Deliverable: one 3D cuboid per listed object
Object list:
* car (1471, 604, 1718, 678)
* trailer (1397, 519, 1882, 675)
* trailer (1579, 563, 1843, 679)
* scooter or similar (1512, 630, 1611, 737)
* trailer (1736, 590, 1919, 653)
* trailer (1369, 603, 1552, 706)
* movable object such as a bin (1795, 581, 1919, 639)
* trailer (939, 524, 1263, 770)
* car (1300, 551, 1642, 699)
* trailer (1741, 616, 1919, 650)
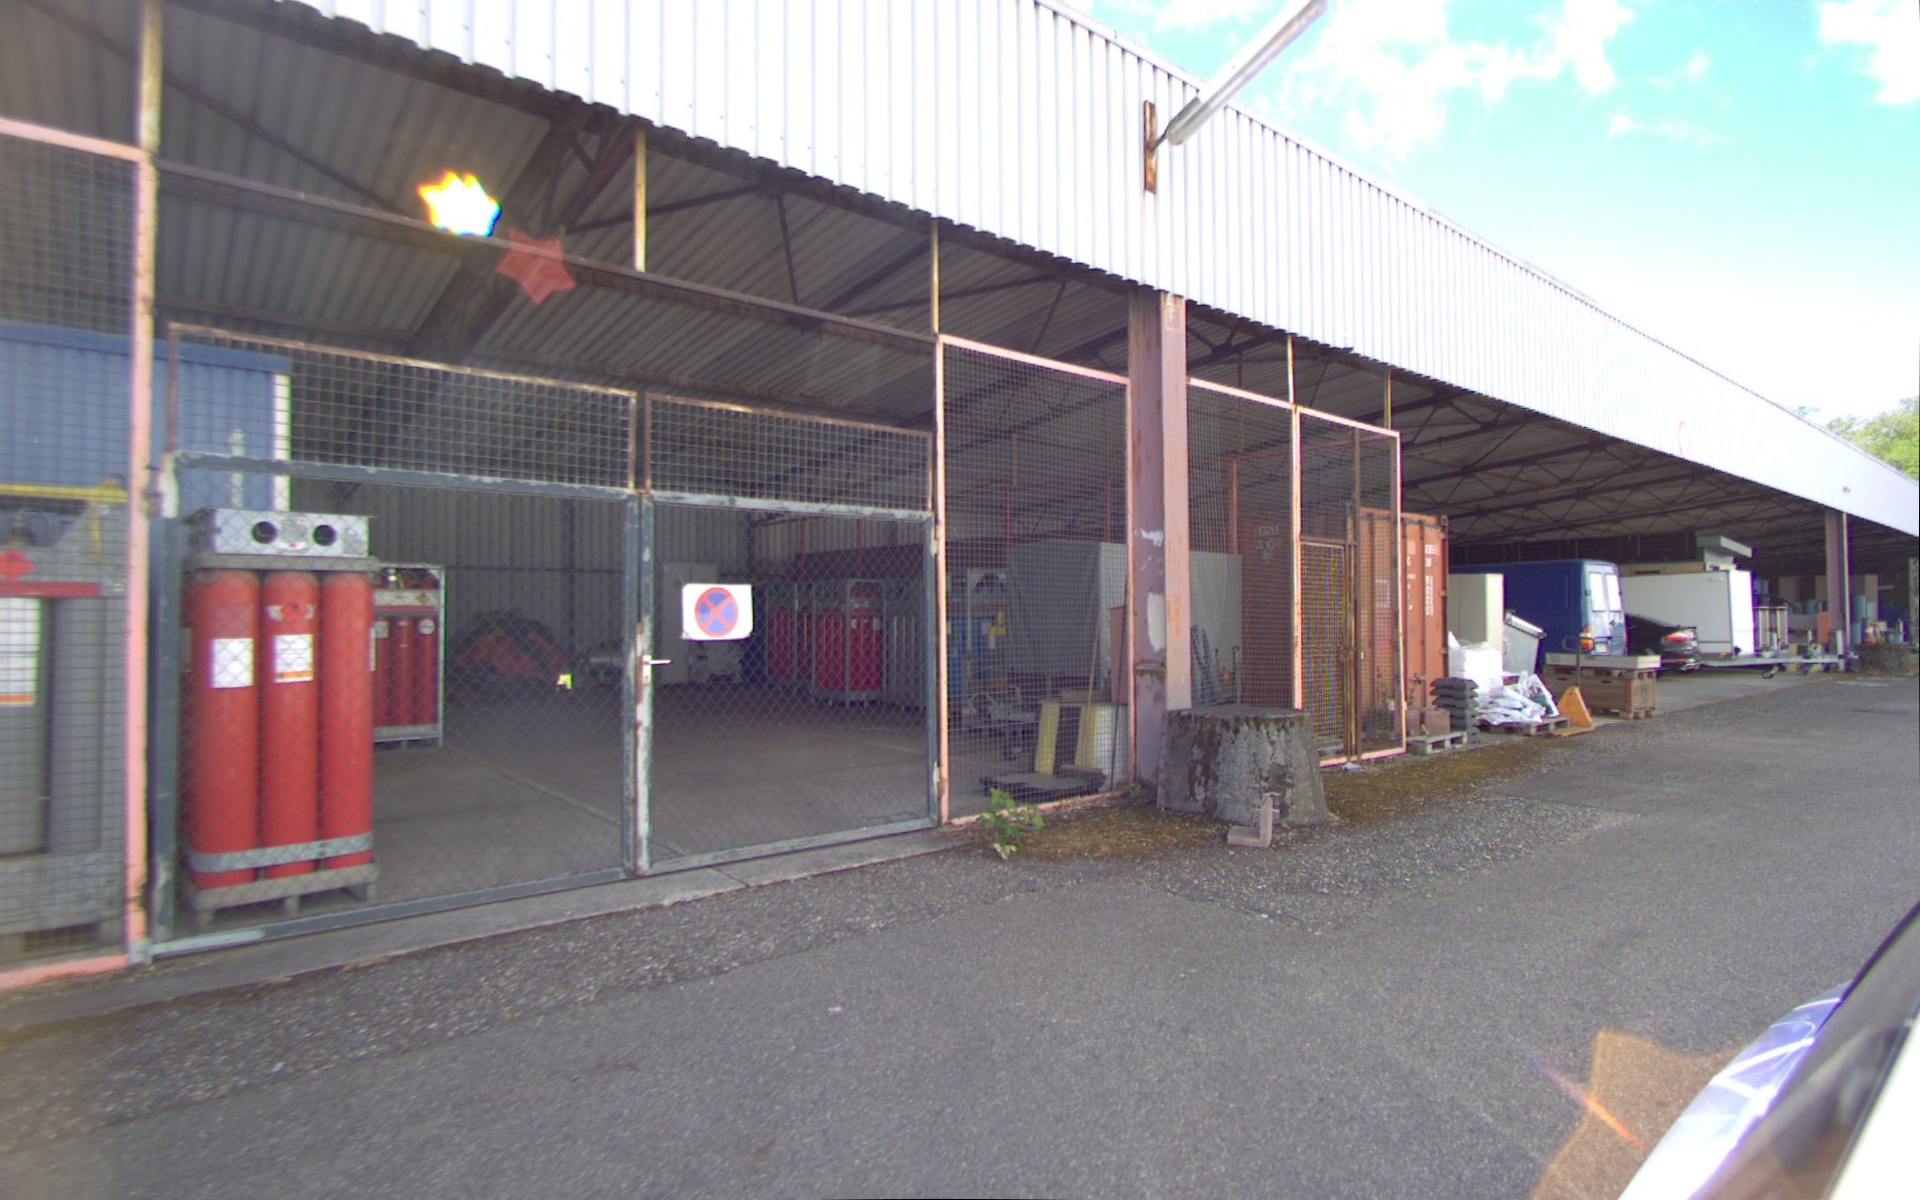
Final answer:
[{"bbox_3d":[13.965,0.830,22.477,1.833,1.451,4.349,0,0,-42],"label":"car"},{"bbox_3d":[17.100,-0.084,26.616,2.626,3.337,10.317,1,0,-38],"label":"trailer"},{"bbox_3d":[16.864,0.415,22.958,1.658,2.365,4.552,1,0,-38],"label":"trailer"},{"bbox_3d":[7.187,0.957,12.059,1.564,1.149,0.521,0,-1,-40],"label":"scooter or similar"},{"bbox_3d":[30.162,0.694,35.067,2.008,2.022,4.831,0,0,-36],"label":"trailer"},{"bbox_3d":[7.932,0.809,16.099,1.611,1.481,2.100,0,-1,-36],"label":"trailer"},{"bbox_3d":[44.928,0.489,50.650,1.965,2.757,4.622,3,-2,-41],"label":"movable object such as a bin"},{"bbox_3d":[1.585,0.407,10.703,3.462,2.170,1.579,0,0,-43],"label":"trailer"},{"bbox_3d":[9.182,0.422,18.627,2.047,2.327,5.225,0,-1,-40],"label":"car"},{"bbox_3d":[32.570,1.173,37.284,1.973,1.147,5.743,1,-1,-40],"label":"trailer"}]
